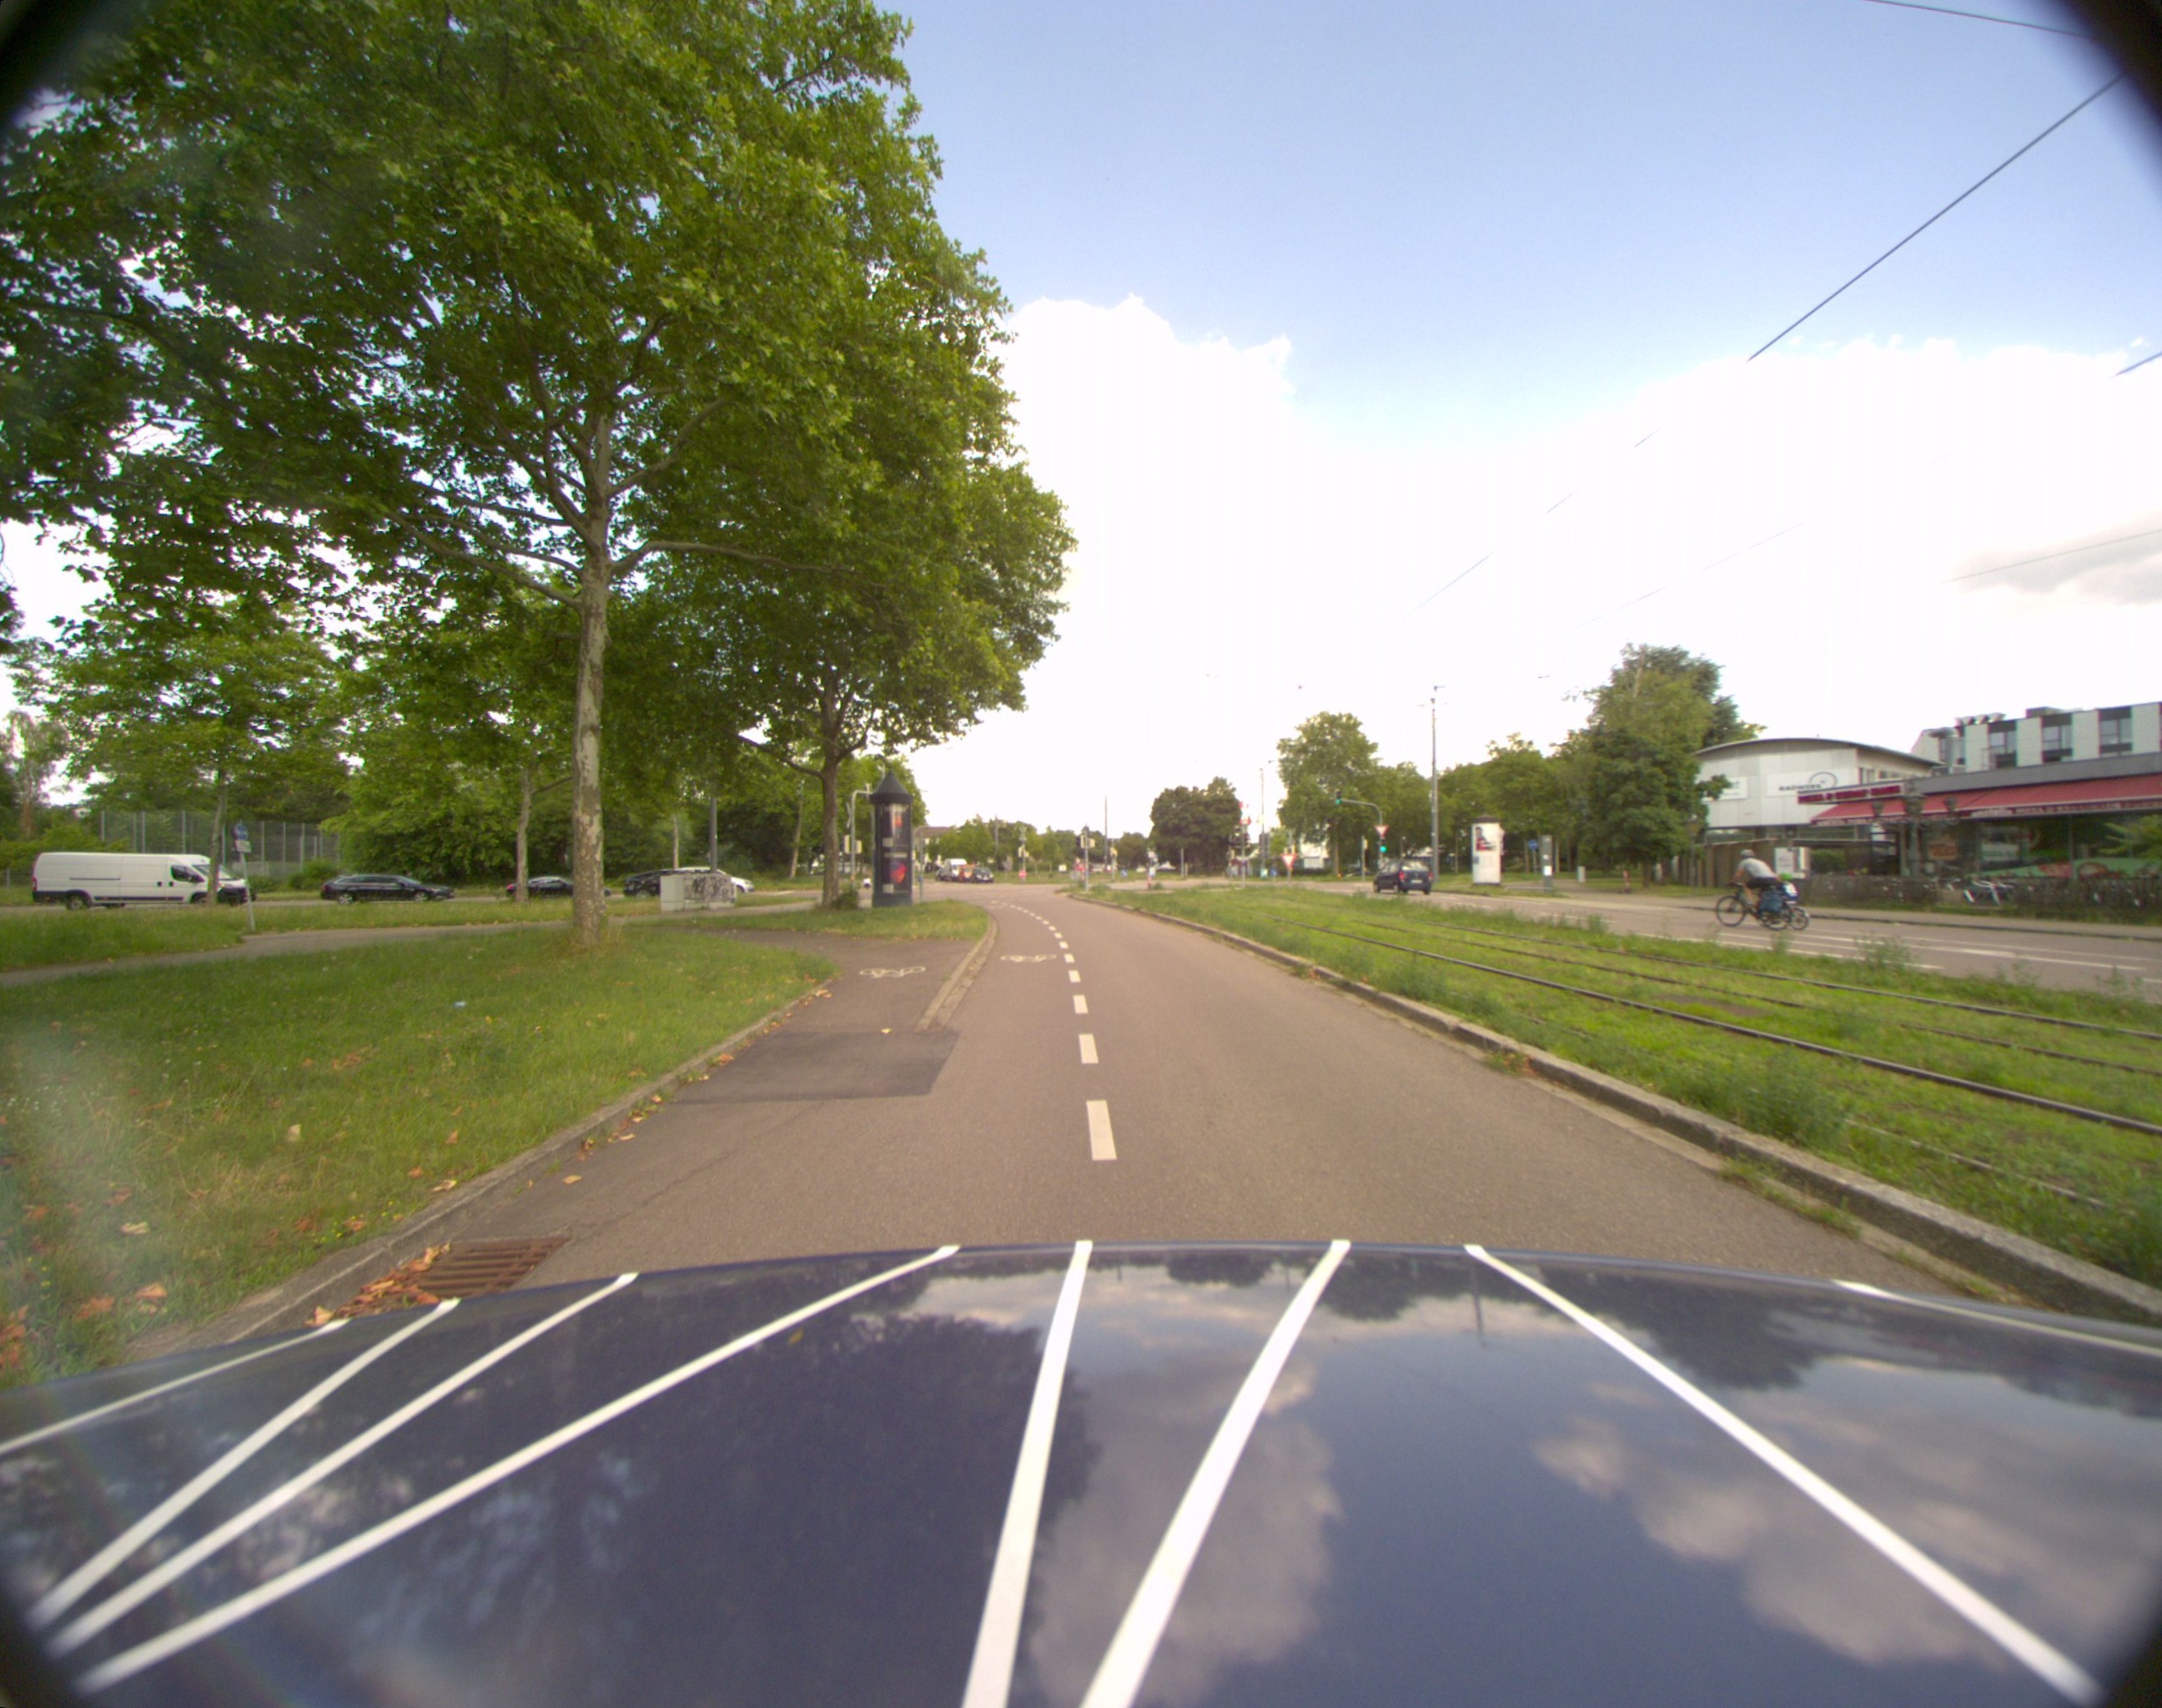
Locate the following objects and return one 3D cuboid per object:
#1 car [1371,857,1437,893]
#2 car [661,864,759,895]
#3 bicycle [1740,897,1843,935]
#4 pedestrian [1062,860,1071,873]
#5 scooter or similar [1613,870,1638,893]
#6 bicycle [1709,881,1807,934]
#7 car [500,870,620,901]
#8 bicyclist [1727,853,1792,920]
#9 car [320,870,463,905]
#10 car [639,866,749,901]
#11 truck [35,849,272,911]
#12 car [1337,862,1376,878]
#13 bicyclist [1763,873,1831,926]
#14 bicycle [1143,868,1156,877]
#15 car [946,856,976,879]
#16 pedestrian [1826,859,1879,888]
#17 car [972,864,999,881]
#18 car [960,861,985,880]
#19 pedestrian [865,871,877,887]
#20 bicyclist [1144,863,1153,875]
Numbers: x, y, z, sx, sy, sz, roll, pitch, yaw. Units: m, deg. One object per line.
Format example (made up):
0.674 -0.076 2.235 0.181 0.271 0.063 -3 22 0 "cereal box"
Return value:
15.435 0.949 36.476 1.783 1.617 3.496 0 0 2 "car"
-20.326 1.367 41.900 4.692 1.601 1.996 0 0 -21 "car"
15.834 1.360 16.996 0.647 0.713 1.805 0 0 2 "bicycle"
-2.083 1.847 110.628 0.909 1.856 1.000 -1 0 -23 "pedestrian"
25.071 1.248 34.986 0.427 1.027 1.224 -1 0 10 "scooter or similar"
15.084 1.167 16.996 0.647 1.073 1.805 0 0 2 "bicycle"
-26.685 1.582 39.120 4.754 1.461 1.996 0 0 -21 "car"
15.081 0.704 16.913 0.624 1.449 0.929 0 0 2 "bicyclist"
-33.239 1.591 36.818 4.692 1.504 1.996 0 0 -21 "car"
-19.347 1.452 38.207 4.691 1.601 1.996 0 0 -21 "car"
-41.314 1.086 34.119 6.515 2.580 2.213 0 0 -20 "truck"
28.128 1.600 77.557 3.863 1.514 1.695 0 0 -33 "car"
15.825 0.992 16.813 0.641 1.106 0.929 0 0 2 "bicyclist"
8.401 2.286 93.377 0.805 1.053 2.066 -1 -2 -20 "bicycle"
-13.695 1.475 86.609 2.242 2.492 5.716 -1 0 -21 "car"
30.710 0.760 30.253 1.156 1.139 0.932 0 0 1 "pedestrian"
-9.434 1.803 74.723 1.798 1.530 3.994 -1 0 -19 "car"
-11.537 1.705 80.440 1.798 1.924 4.361 -1 0 -20 "car"
-13.842 1.667 50.068 0.723 1.028 0.900 -1 0 -21 "pedestrian"
8.318 1.825 93.570 0.805 1.461 0.831 -1 -2 -20 "bicyclist"
